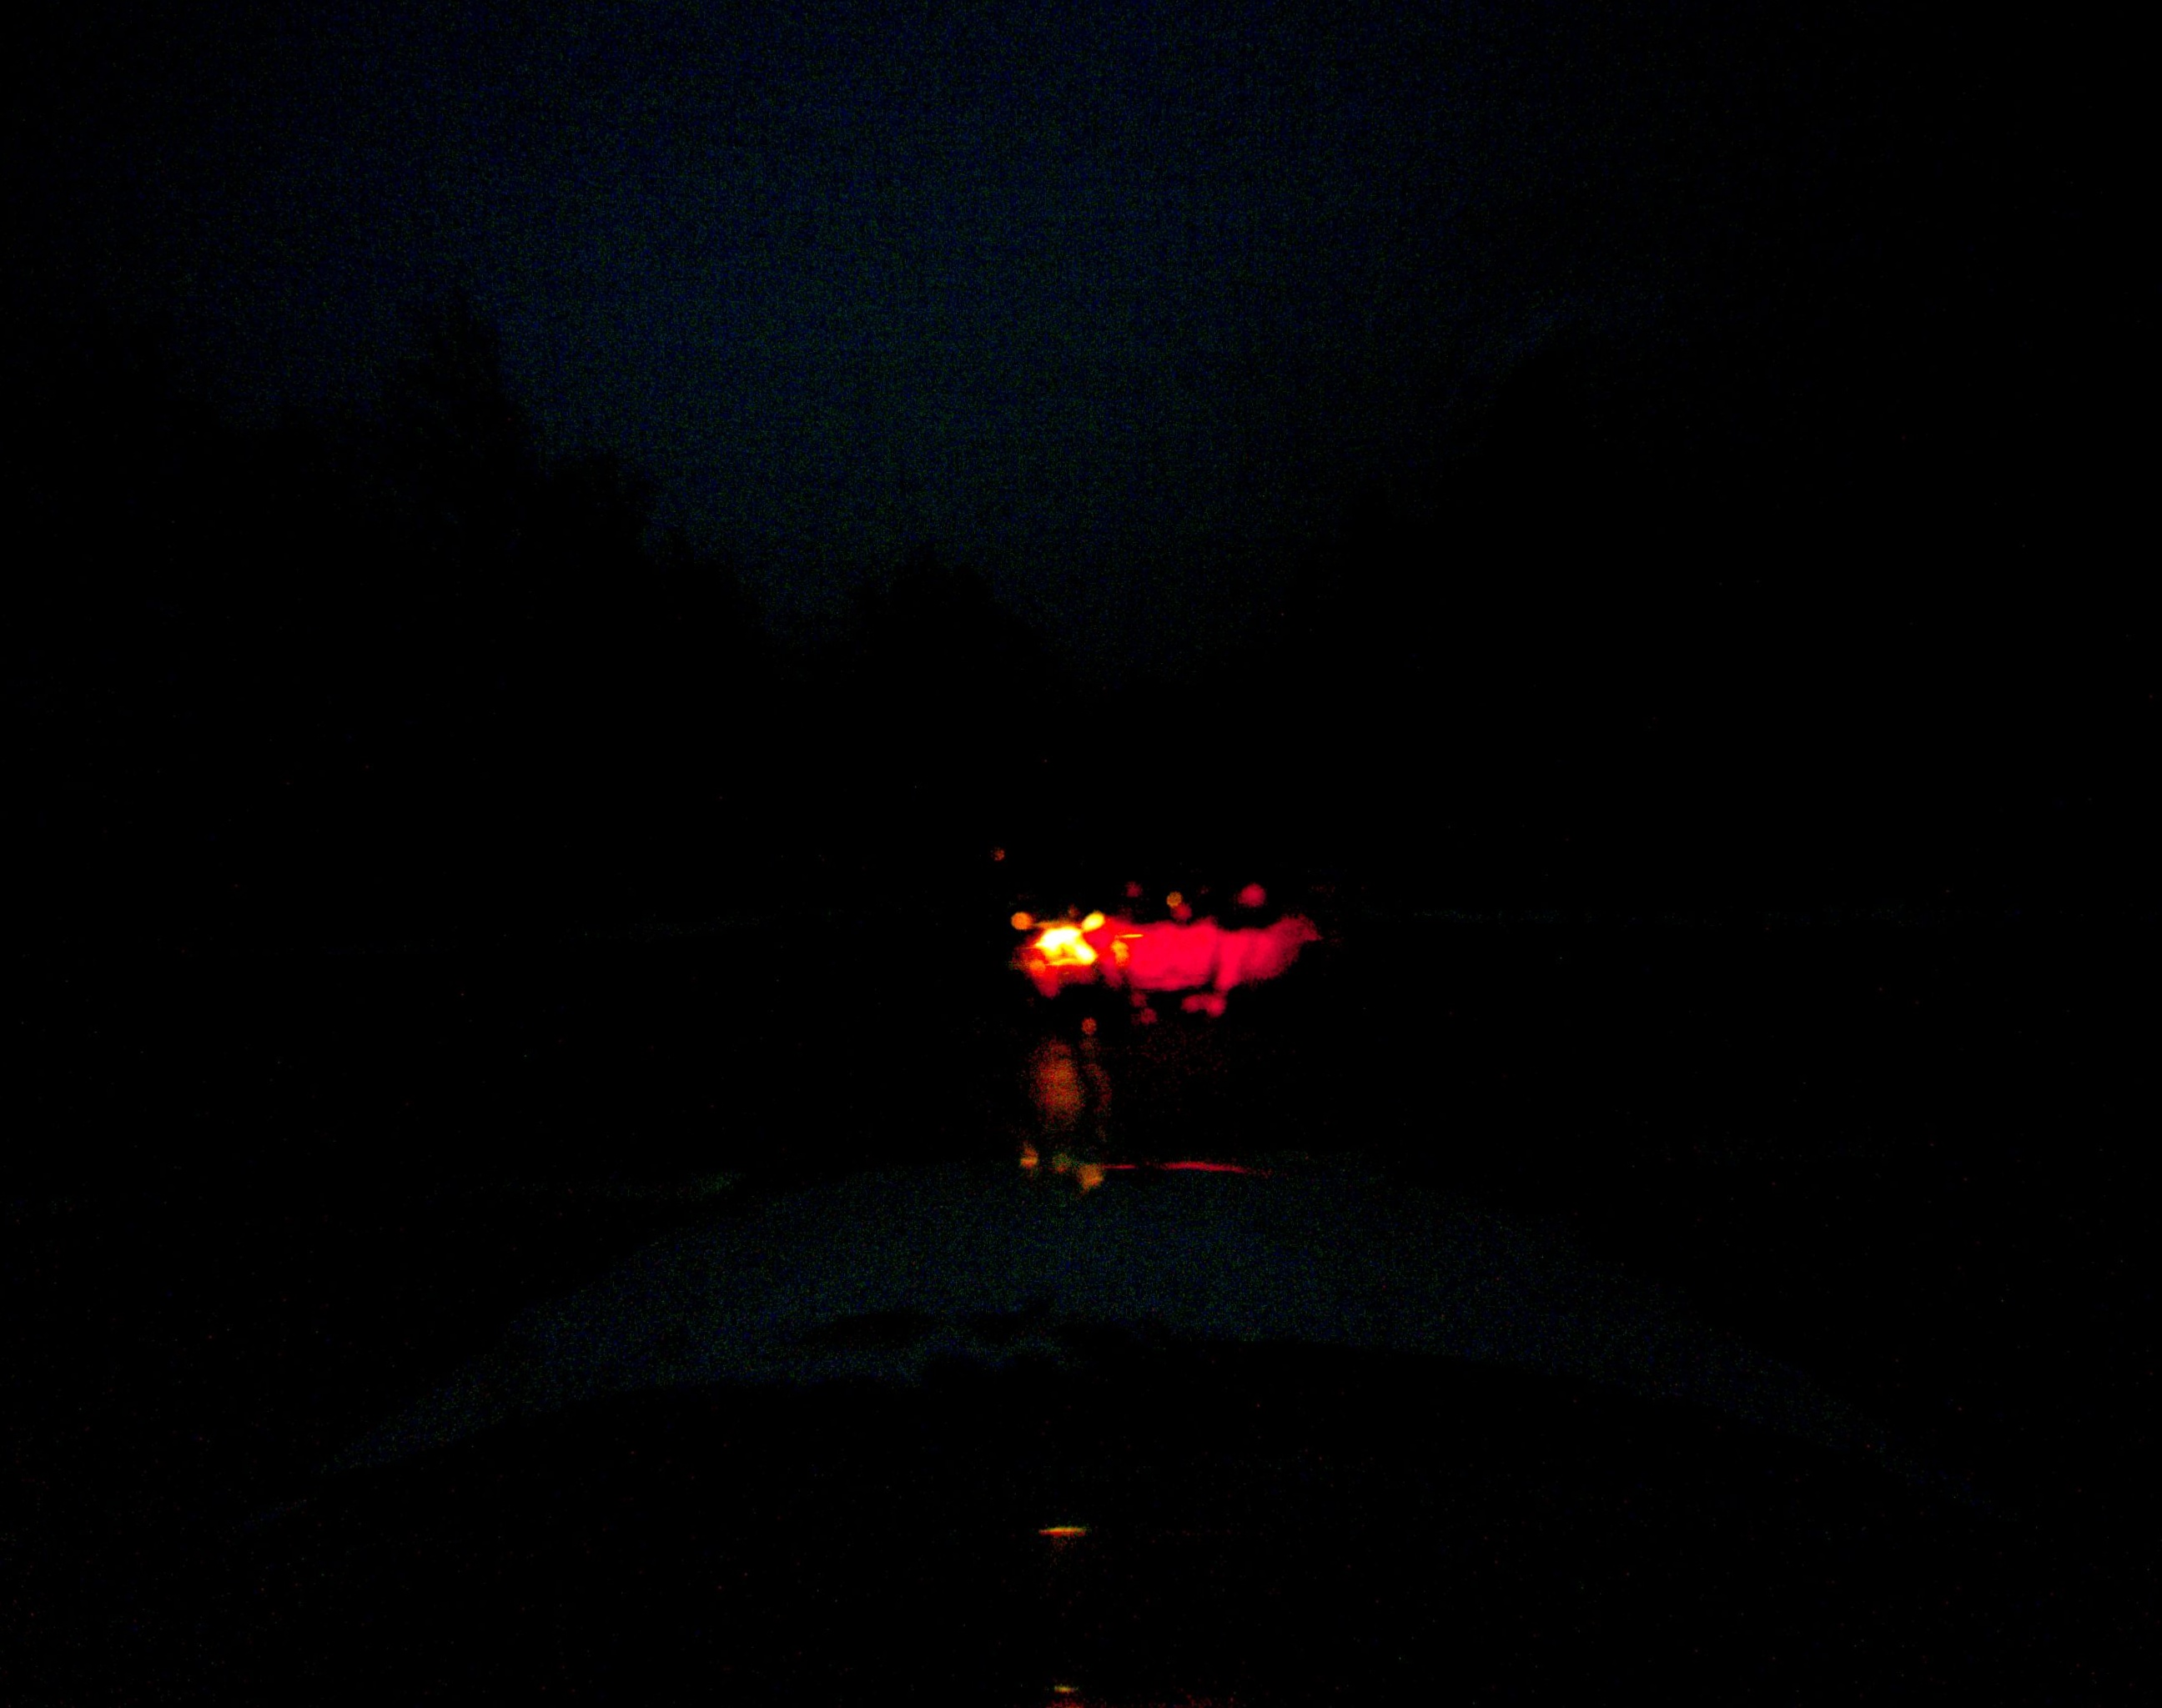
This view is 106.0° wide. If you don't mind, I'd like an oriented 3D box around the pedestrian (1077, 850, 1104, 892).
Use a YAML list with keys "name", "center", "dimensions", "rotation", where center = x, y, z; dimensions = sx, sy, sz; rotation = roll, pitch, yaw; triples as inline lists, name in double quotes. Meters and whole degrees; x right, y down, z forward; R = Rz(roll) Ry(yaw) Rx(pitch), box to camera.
- name: "pedestrian"
  center: [0.433, 0.765, 36.551]
  dimensions: [0.952, 1.828, 0.930]
  rotation: [-1, -2, 23]

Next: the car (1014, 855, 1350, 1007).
- name: "car"
  center: [1.054, 0.753, 9.102]
  dimensions: [3.406, 1.452, 1.569]
  rotation: [0, -1, -14]

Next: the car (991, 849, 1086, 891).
- name: "car"
  center: [-1.951, 0.765, 37.868]
  dimensions: [3.915, 1.881, 2.009]
  rotation: [0, -2, 18]
